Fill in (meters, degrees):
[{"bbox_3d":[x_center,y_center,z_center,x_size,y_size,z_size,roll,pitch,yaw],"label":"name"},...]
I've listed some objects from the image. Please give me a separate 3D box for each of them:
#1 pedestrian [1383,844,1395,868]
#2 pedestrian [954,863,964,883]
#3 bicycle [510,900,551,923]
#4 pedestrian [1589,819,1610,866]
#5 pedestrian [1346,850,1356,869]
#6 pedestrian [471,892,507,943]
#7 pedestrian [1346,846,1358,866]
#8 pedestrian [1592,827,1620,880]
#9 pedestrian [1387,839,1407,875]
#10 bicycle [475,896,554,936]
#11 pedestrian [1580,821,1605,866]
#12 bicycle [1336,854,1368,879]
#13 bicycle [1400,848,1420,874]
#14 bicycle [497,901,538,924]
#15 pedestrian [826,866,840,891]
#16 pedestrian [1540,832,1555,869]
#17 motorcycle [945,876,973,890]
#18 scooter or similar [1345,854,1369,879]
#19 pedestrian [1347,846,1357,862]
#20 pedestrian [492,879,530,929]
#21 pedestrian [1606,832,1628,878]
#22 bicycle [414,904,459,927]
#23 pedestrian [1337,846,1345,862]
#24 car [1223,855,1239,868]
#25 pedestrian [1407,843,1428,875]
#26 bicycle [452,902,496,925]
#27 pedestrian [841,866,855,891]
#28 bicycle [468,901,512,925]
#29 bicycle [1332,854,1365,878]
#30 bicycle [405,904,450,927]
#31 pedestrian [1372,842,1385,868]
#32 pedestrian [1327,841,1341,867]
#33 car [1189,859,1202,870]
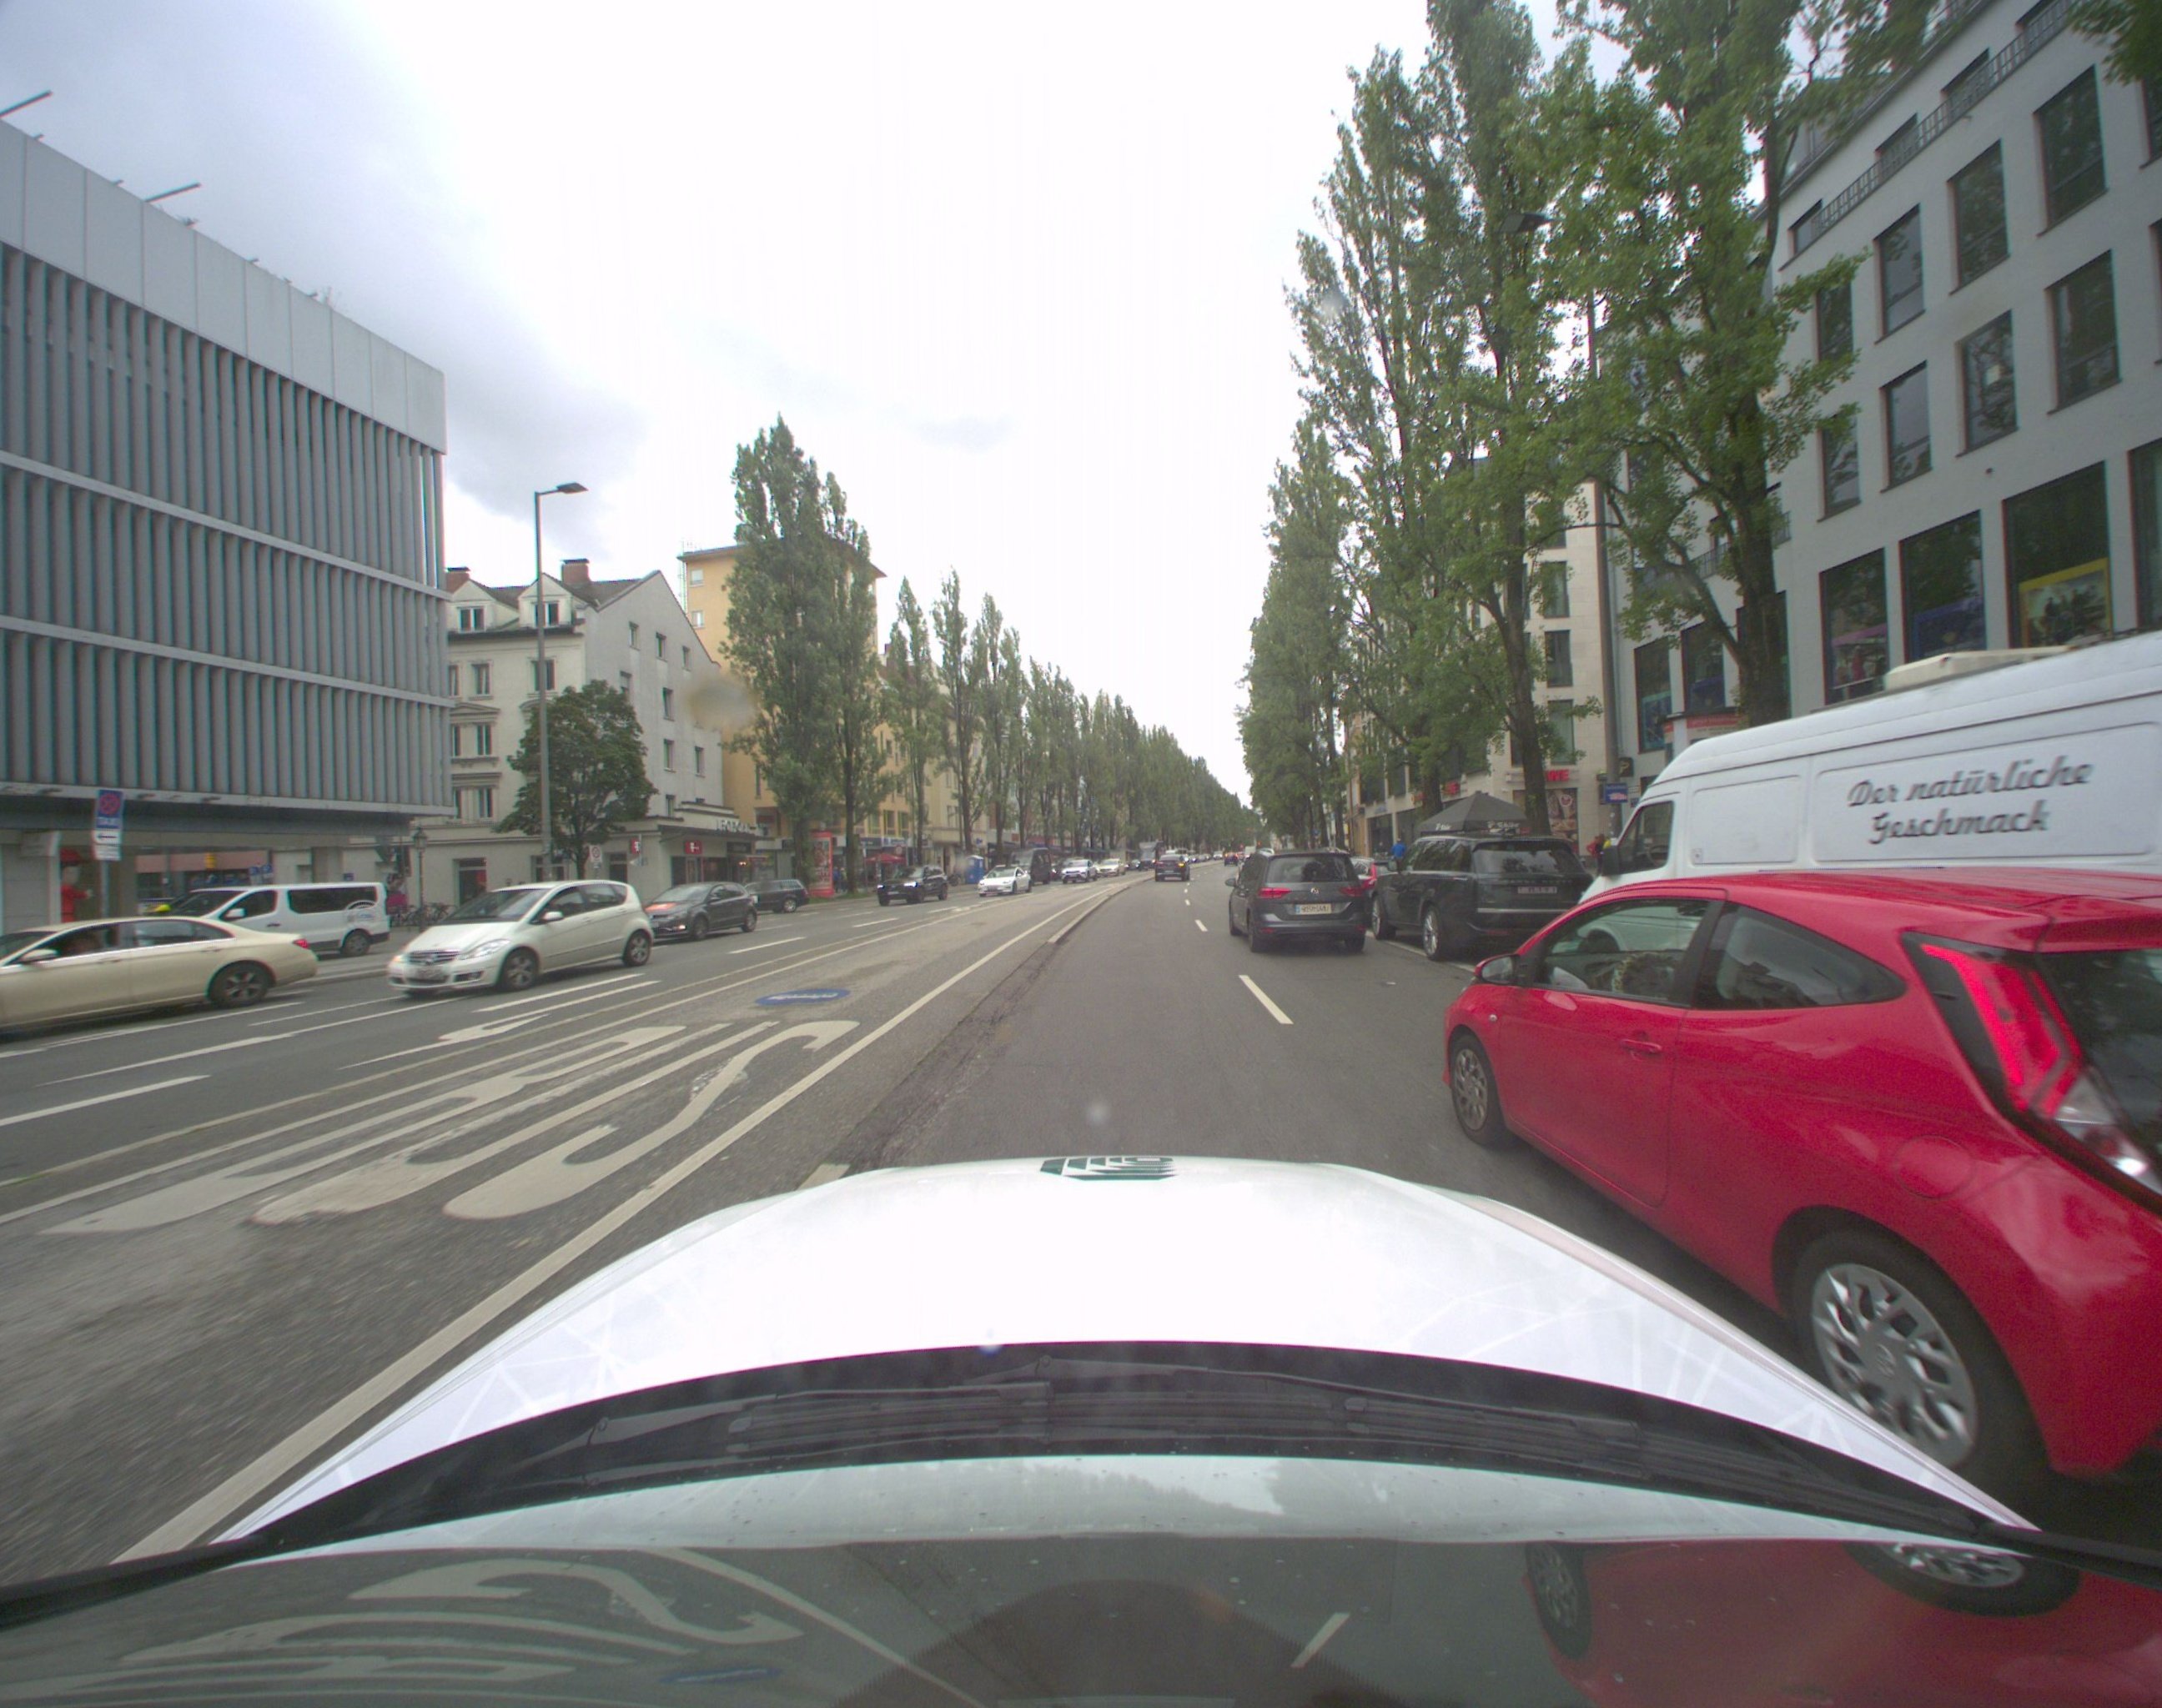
[{"bbox_3d":[19.597,0.134,51.869,0.497,1.491,0.551,-3,-1,38],"label":"pedestrian"},{"bbox_3d":[-10.860,1.710,72.542,0.535,1.747,0.758,-2,-1,14],"label":"pedestrian"},{"bbox_3d":[-26.140,2.709,38.711,0.456,0.964,1.884,-3,-1,7],"label":"bicycle"},{"bbox_3d":[18.316,-0.390,28.768,0.542,1.624,0.510,-1,-1,26],"label":"pedestrian"},{"bbox_3d":[24.472,0.481,73.916,0.723,1.626,0.809,-3,-1,23],"label":"pedestrian"},{"bbox_3d":[-17.982,1.925,24.748,0.542,1.495,0.656,-3,-1,5],"label":"pedestrian"},{"bbox_3d":[22.606,0.167,67.873,0.605,1.551,0.711,-3,-1,-14],"label":"pedestrian"},{"bbox_3d":[16.670,-0.010,25.858,0.487,1.634,0.571,-3,-1,8],"label":"pedestrian"},{"bbox_3d":[14.820,0.134,38.200,0.607,1.619,0.796,-3,-1,9],"label":"pedestrian"},{"bbox_3d":[-21.587,2.347,31.106,0.839,1.308,2.317,-3,-1,24],"label":"bicycle"},{"bbox_3d":[18.638,-0.384,29.673,0.549,1.624,0.503,0,-1,-22],"label":"pedestrian"},{"bbox_3d":[14.004,0.640,42.110,1.471,1.207,0.536,-3,-1,5],"label":"bicycle"},{"bbox_3d":[15.371,0.322,38.094,0.447,1.172,1.773,-3,-1,9],"label":"bicycle"},{"bbox_3d":[-26.744,2.762,38.693,0.456,0.964,1.884,-3,-1,7],"label":"bicycle"},{"bbox_3d":[-16.694,1.652,54.877,0.840,1.625,0.760,-1,-1,-12],"label":"pedestrian"},{"bbox_3d":[22.327,-0.182,38.973,0.464,1.751,0.428,-3,-1,10],"label":"pedestrian"},{"bbox_3d":[-9.243,2.214,61.610,2.053,1.036,0.485,-1,-1,-7],"label":"motorcycle"},{"bbox_3d":[14.053,0.622,41.483,1.045,1.226,0.380,-3,-1,5],"label":"scooter or similar"},{"bbox_3d":[26.851,-0.004,80.630,0.814,1.613,0.782,-3,-1,16],"label":"pedestrian"},{"bbox_3d":[-22.309,1.951,31.905,0.849,1.899,0.838,-3,-1,25],"label":"pedestrian"},{"bbox_3d":[19.046,0.047,28.937,0.552,1.624,0.501,0,-2,-43],"label":"pedestrian"},{"bbox_3d":[-30.848,2.925,39.033,0.456,0.964,1.884,-3,-1,7],"label":"bicycle"},{"bbox_3d":[25.758,0.002,80.800,0.667,1.613,0.643,-3,-1,16],"label":"pedestrian"},{"bbox_3d":[18.662,0.919,101.294,1.747,1.619,3.760,-1,-1,14],"label":"car"},{"bbox_3d":[19.363,0.290,46.919,0.794,1.772,0.679,-3,-1,-11],"label":"pedestrian"},{"bbox_3d":[-28.614,2.787,38.440,0.456,0.964,1.884,-3,-1,7],"label":"bicycle"},{"bbox_3d":[-15.721,1.638,54.912,0.840,1.625,0.760,-1,-1,-12],"label":"pedestrian"},{"bbox_3d":[-27.821,2.773,38.363,0.456,0.964,1.884,-3,-1,7],"label":"bicycle"},{"bbox_3d":[14.012,0.625,42.692,1.471,1.207,0.536,-3,-1,5],"label":"bicycle"},{"bbox_3d":[-31.364,2.934,39.096,0.456,0.964,1.884,-3,-1,7],"label":"bicycle"},{"bbox_3d":[19.029,0.073,52.112,0.544,1.638,0.562,-3,-1,37],"label":"pedestrian"},{"bbox_3d":[18.998,0.009,61.239,0.812,1.869,0.941,-3,-1,10],"label":"pedestrian"},{"bbox_3d":[18.449,1.683,131.024,1.655,1.596,4.015,-1,-1,14],"label":"car"}]
